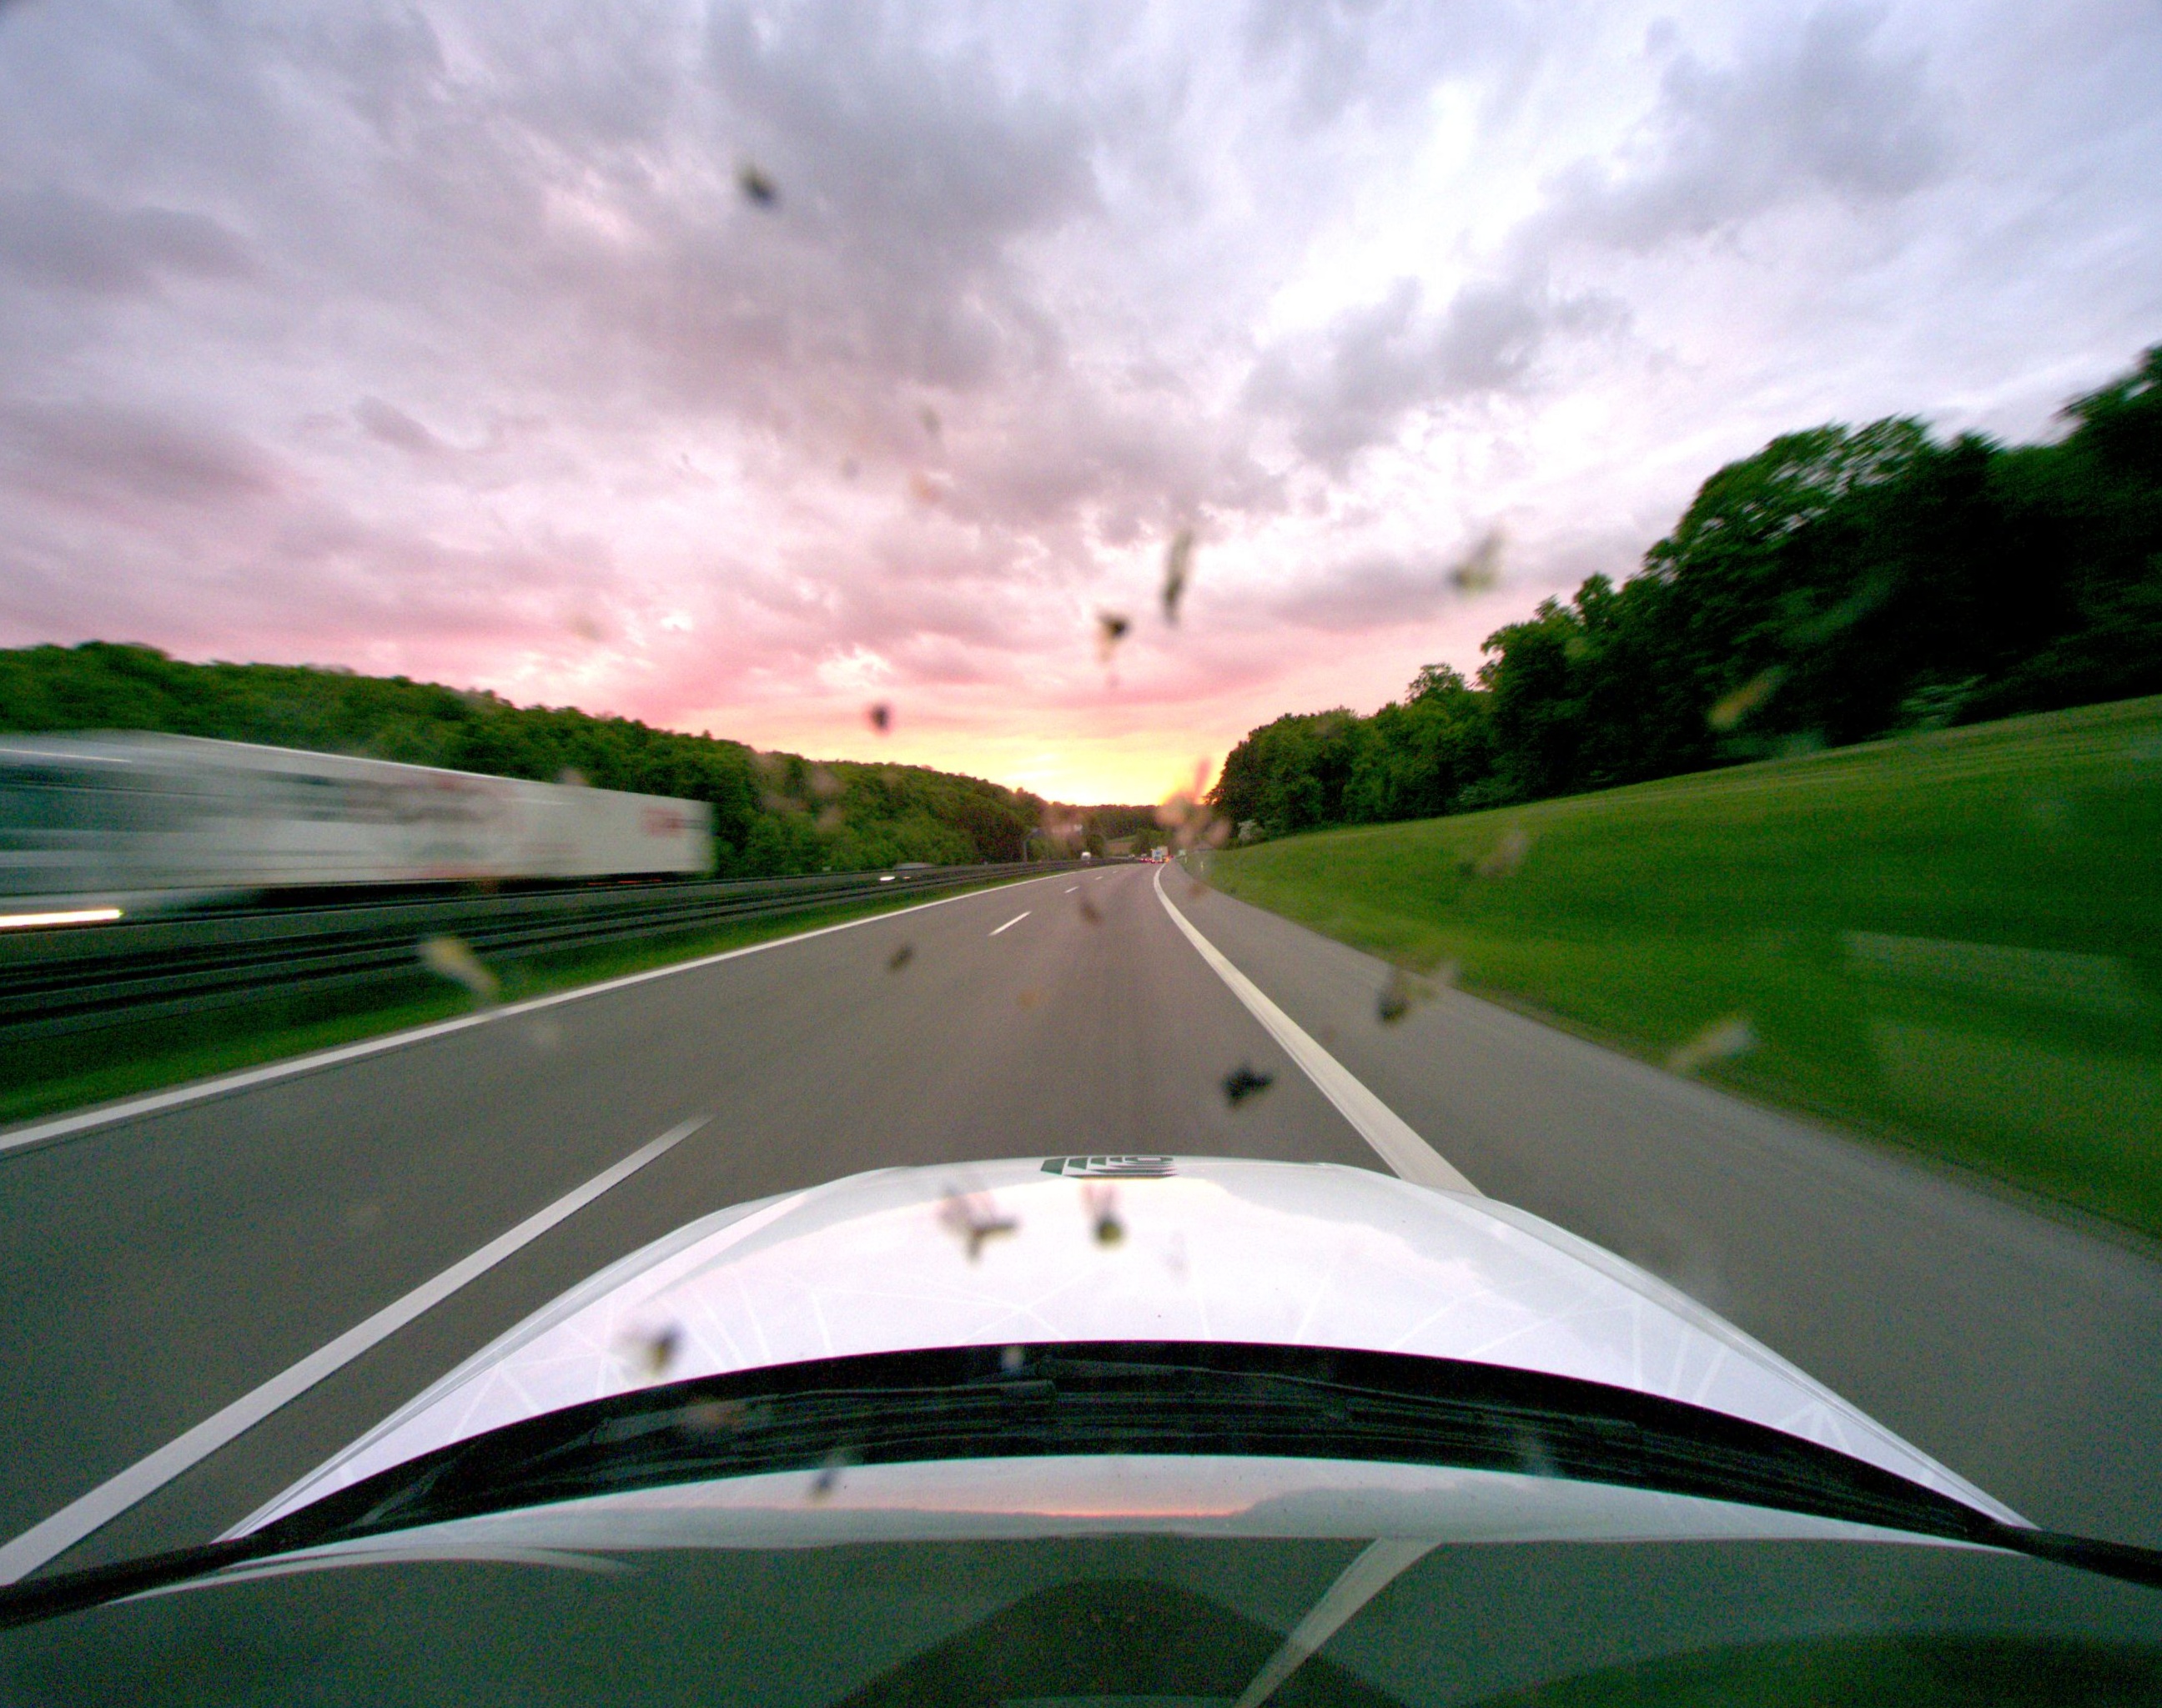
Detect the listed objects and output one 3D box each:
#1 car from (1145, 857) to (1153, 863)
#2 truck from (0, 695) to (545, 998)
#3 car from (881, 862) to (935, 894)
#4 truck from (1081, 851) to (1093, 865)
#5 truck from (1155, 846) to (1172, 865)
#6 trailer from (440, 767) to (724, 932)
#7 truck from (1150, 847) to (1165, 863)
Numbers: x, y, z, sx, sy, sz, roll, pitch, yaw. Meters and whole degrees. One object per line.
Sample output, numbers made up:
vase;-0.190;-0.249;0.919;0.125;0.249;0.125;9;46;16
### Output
car;18.787;1.627;225.820;1.984;1.517;4.006;-3;0;5
truck;-16.033;-0.086;16.639;2.852;4.281;10.076;-2;0;4
car;-9.595;1.290;45.444;1.647;1.535;4.472;-4;0;4
truck;1.339;0.865;178.757;1.984;3.067;5.602;-2;0;5
truck;20.934;0.272;206.484;3.938;4.286;14.348;-3;0;6
trailer;-15.359;-0.119;26.375;2.819;4.317;9.304;-2;0;4
truck;14.491;0.144;154.248;2.262;2.664;5.250;-3;2;9
